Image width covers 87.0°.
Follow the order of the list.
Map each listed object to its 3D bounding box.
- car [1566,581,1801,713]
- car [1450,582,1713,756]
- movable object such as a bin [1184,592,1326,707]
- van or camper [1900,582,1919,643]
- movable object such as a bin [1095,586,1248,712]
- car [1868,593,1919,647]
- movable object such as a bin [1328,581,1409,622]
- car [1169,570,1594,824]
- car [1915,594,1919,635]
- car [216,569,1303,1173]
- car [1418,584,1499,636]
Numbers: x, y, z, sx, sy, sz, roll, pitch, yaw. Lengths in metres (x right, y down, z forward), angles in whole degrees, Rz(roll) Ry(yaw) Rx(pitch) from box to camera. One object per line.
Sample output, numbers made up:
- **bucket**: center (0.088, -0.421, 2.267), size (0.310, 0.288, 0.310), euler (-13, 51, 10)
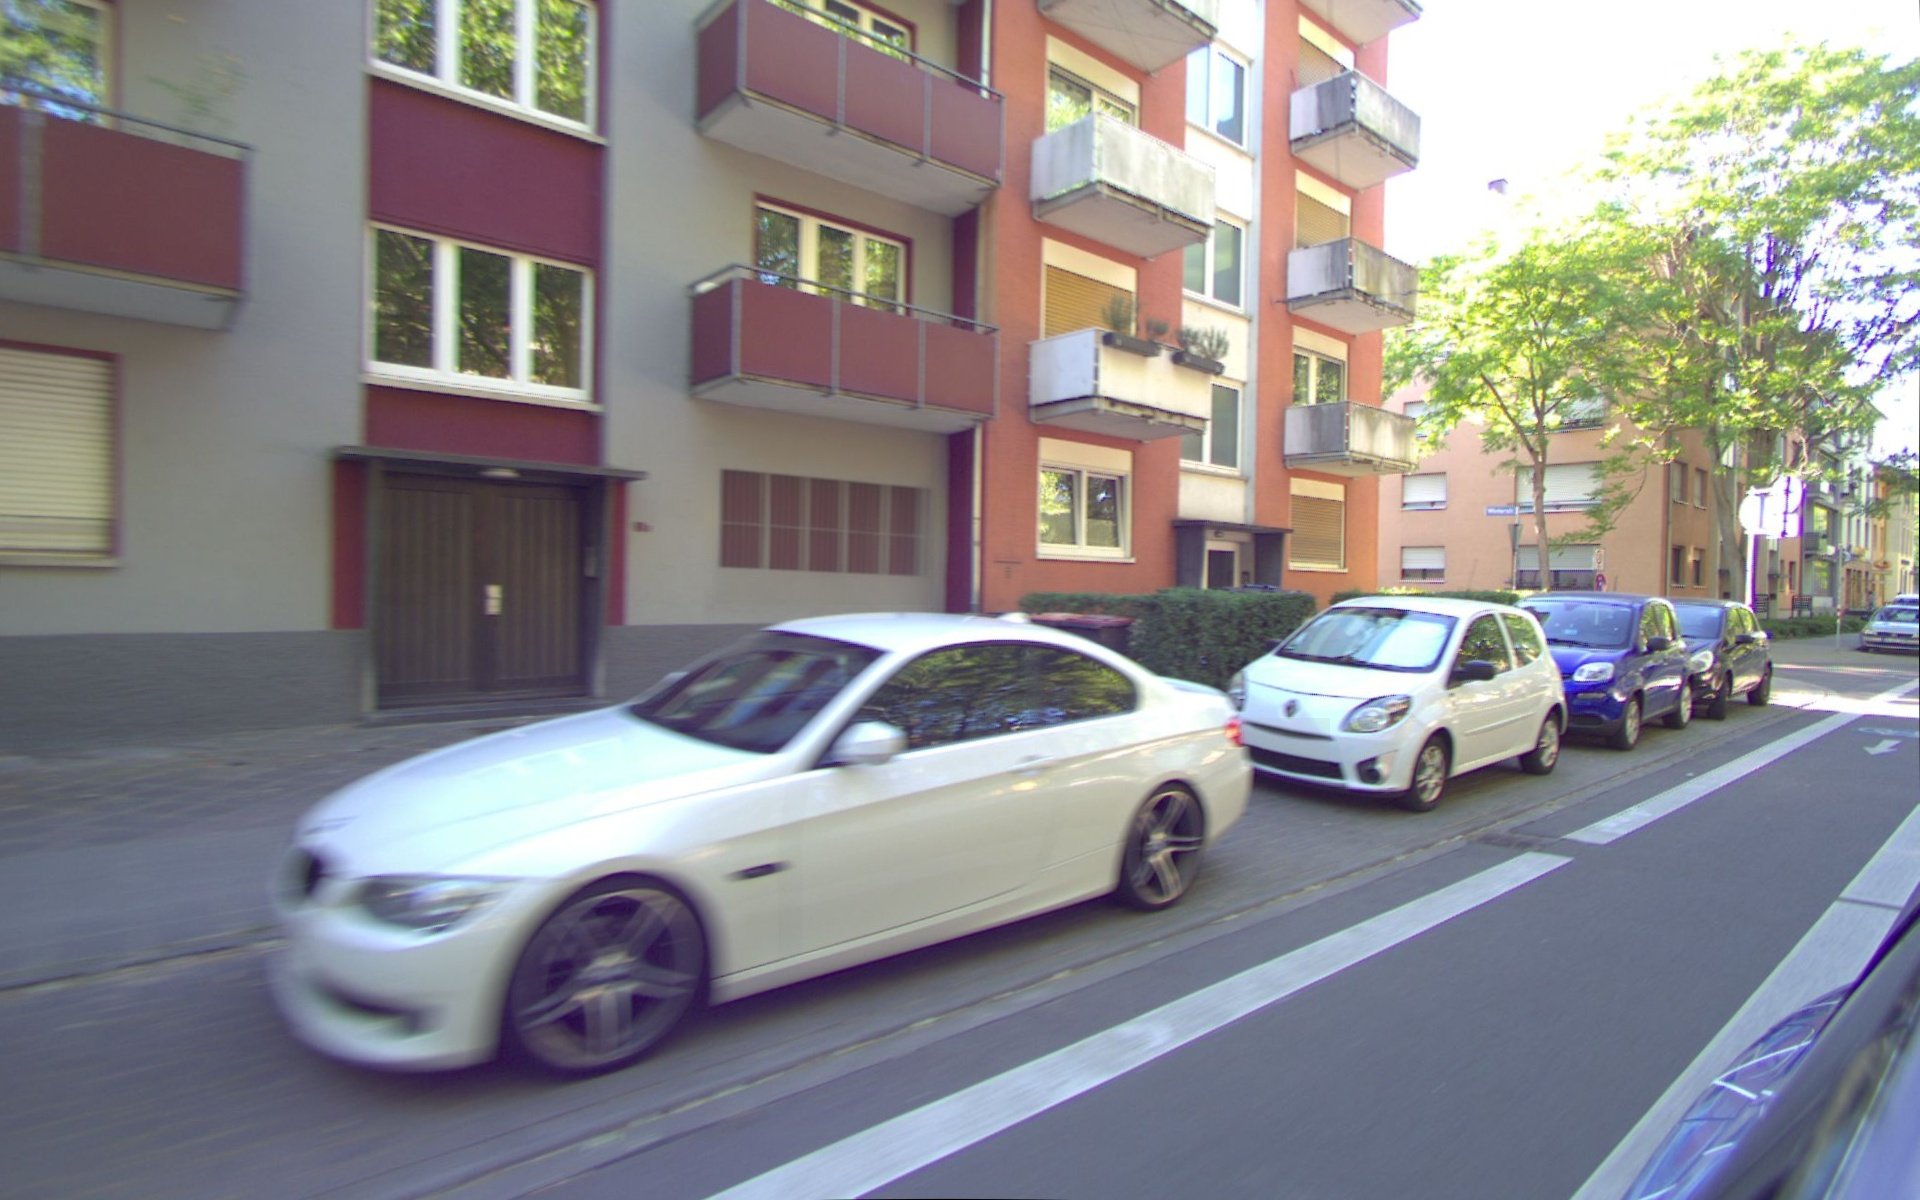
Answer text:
- **car**: center (9.997, 0.548, 13.889), size (3.848, 1.480, 1.737), euler (0, 3, -41)
- **car**: center (6.958, 0.612, 11.183), size (3.688, 1.610, 1.528), euler (-1, 1, -42)
- **movable object such as a bin**: center (3.762, 0.577, 12.874), size (1.691, 1.343, 0.969), euler (0, 0, -40)
- **van or camper**: center (32.375, 0.416, 33.257), size (4.747, 1.887, 1.758), euler (0, 2, -42)
- **movable object such as a bin**: center (2.465, 0.516, 11.711), size (1.652, 1.343, 0.925), euler (0, 0, -40)
- **car**: center (28.182, 0.566, 29.759), size (3.930, 1.491, 1.709), euler (0, 2, -41)
- **movable object such as a bin**: center (15.496, 0.039, 38.453), size (1.355, 1.436, 2.543), euler (-2, 3, -43)
- **car**: center (3.544, 0.582, 8.213), size (3.767, 1.545, 1.595), euler (-1, 4, -40)
- **car**: center (36.505, 0.545, 37.142), size (4.095, 1.491, 1.709), euler (0, 2, -41)
- **car**: center (-0.440, 0.646, 4.626), size (4.657, 1.416, 1.663), euler (0, 3, -41)
- **car**: center (16.267, 0.283, 33.184), size (1.703, 1.559, 3.979), euler (1, 1, 17)
